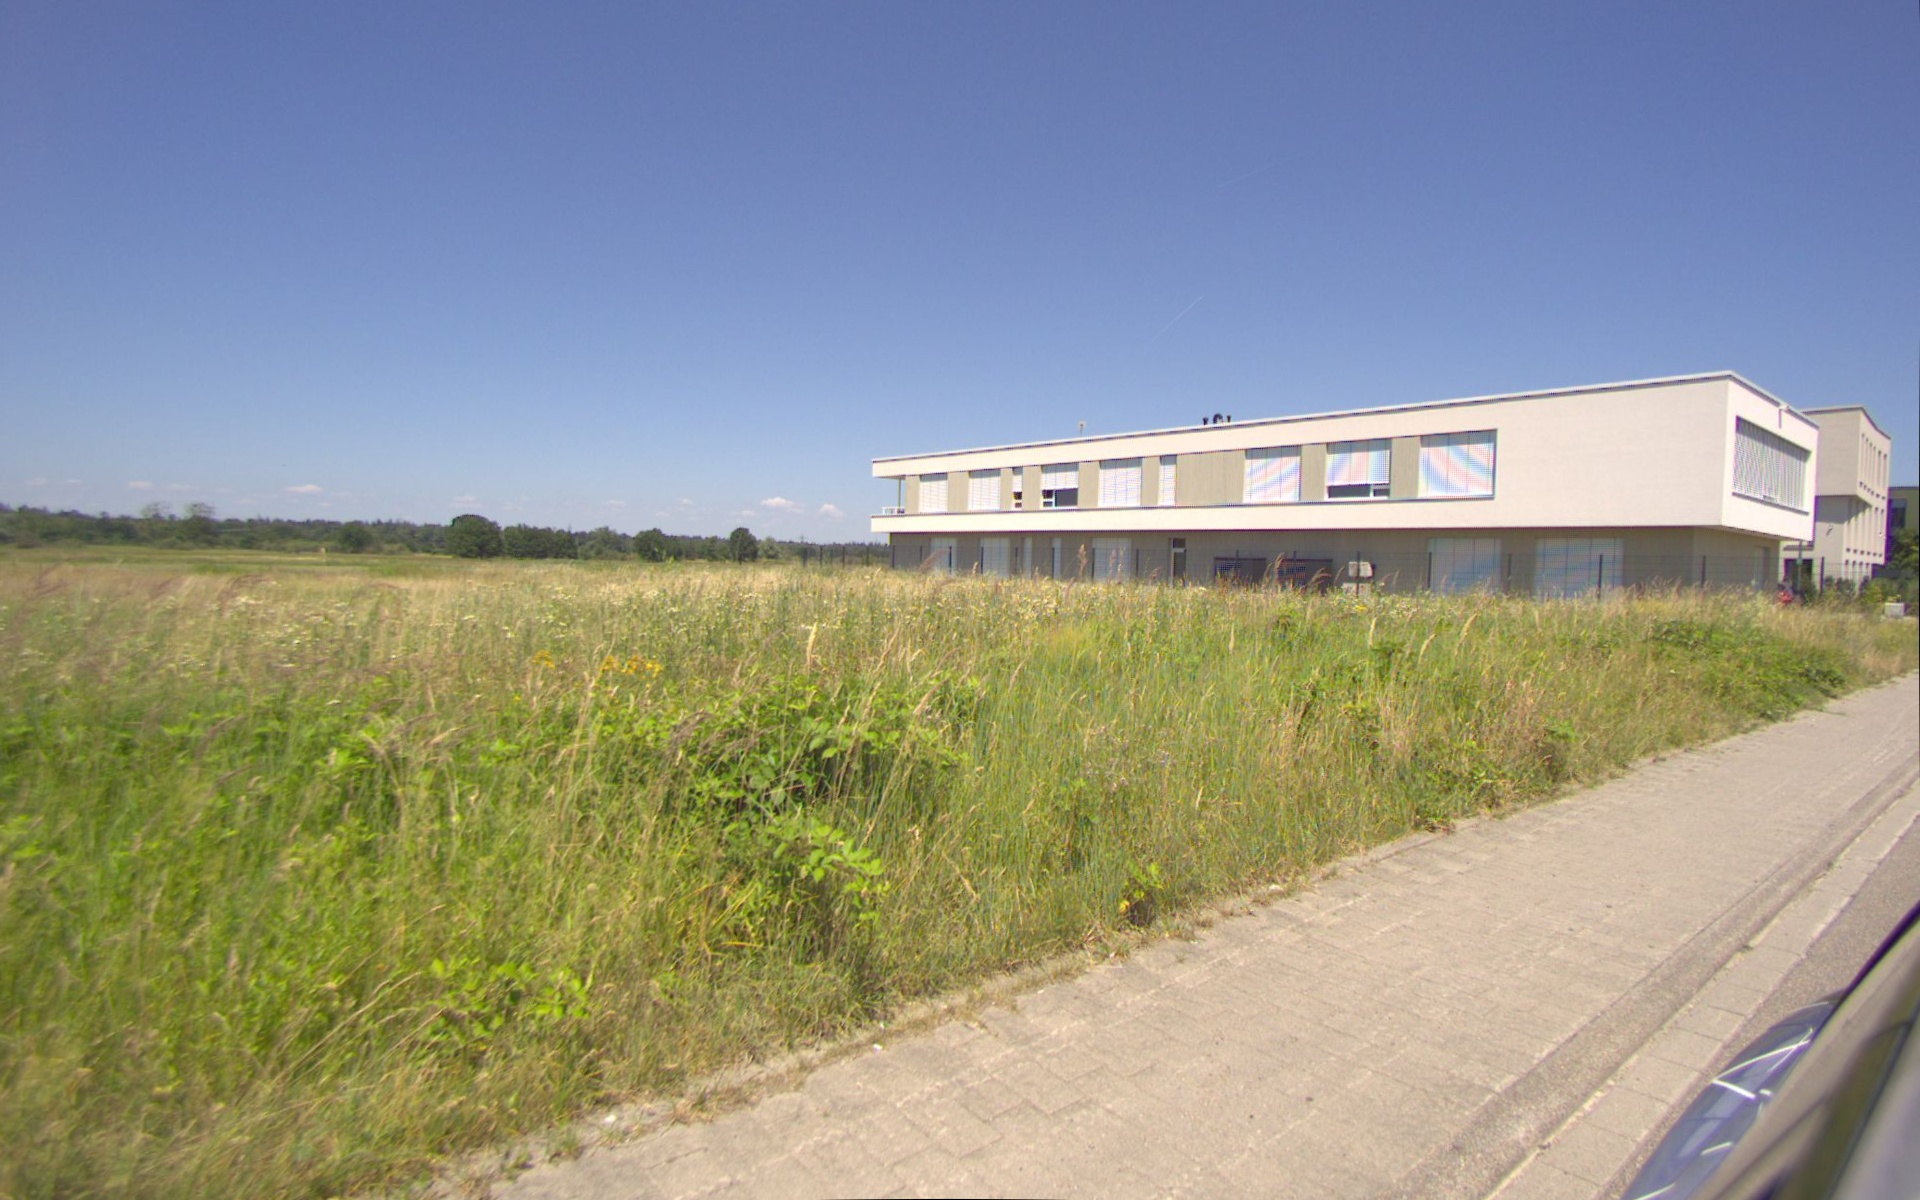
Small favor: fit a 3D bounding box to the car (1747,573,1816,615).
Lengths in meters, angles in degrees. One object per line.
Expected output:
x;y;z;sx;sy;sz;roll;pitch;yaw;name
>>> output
33.721;-0.219;41.493;4.010;1.577;1.670;1;1;-44;car
